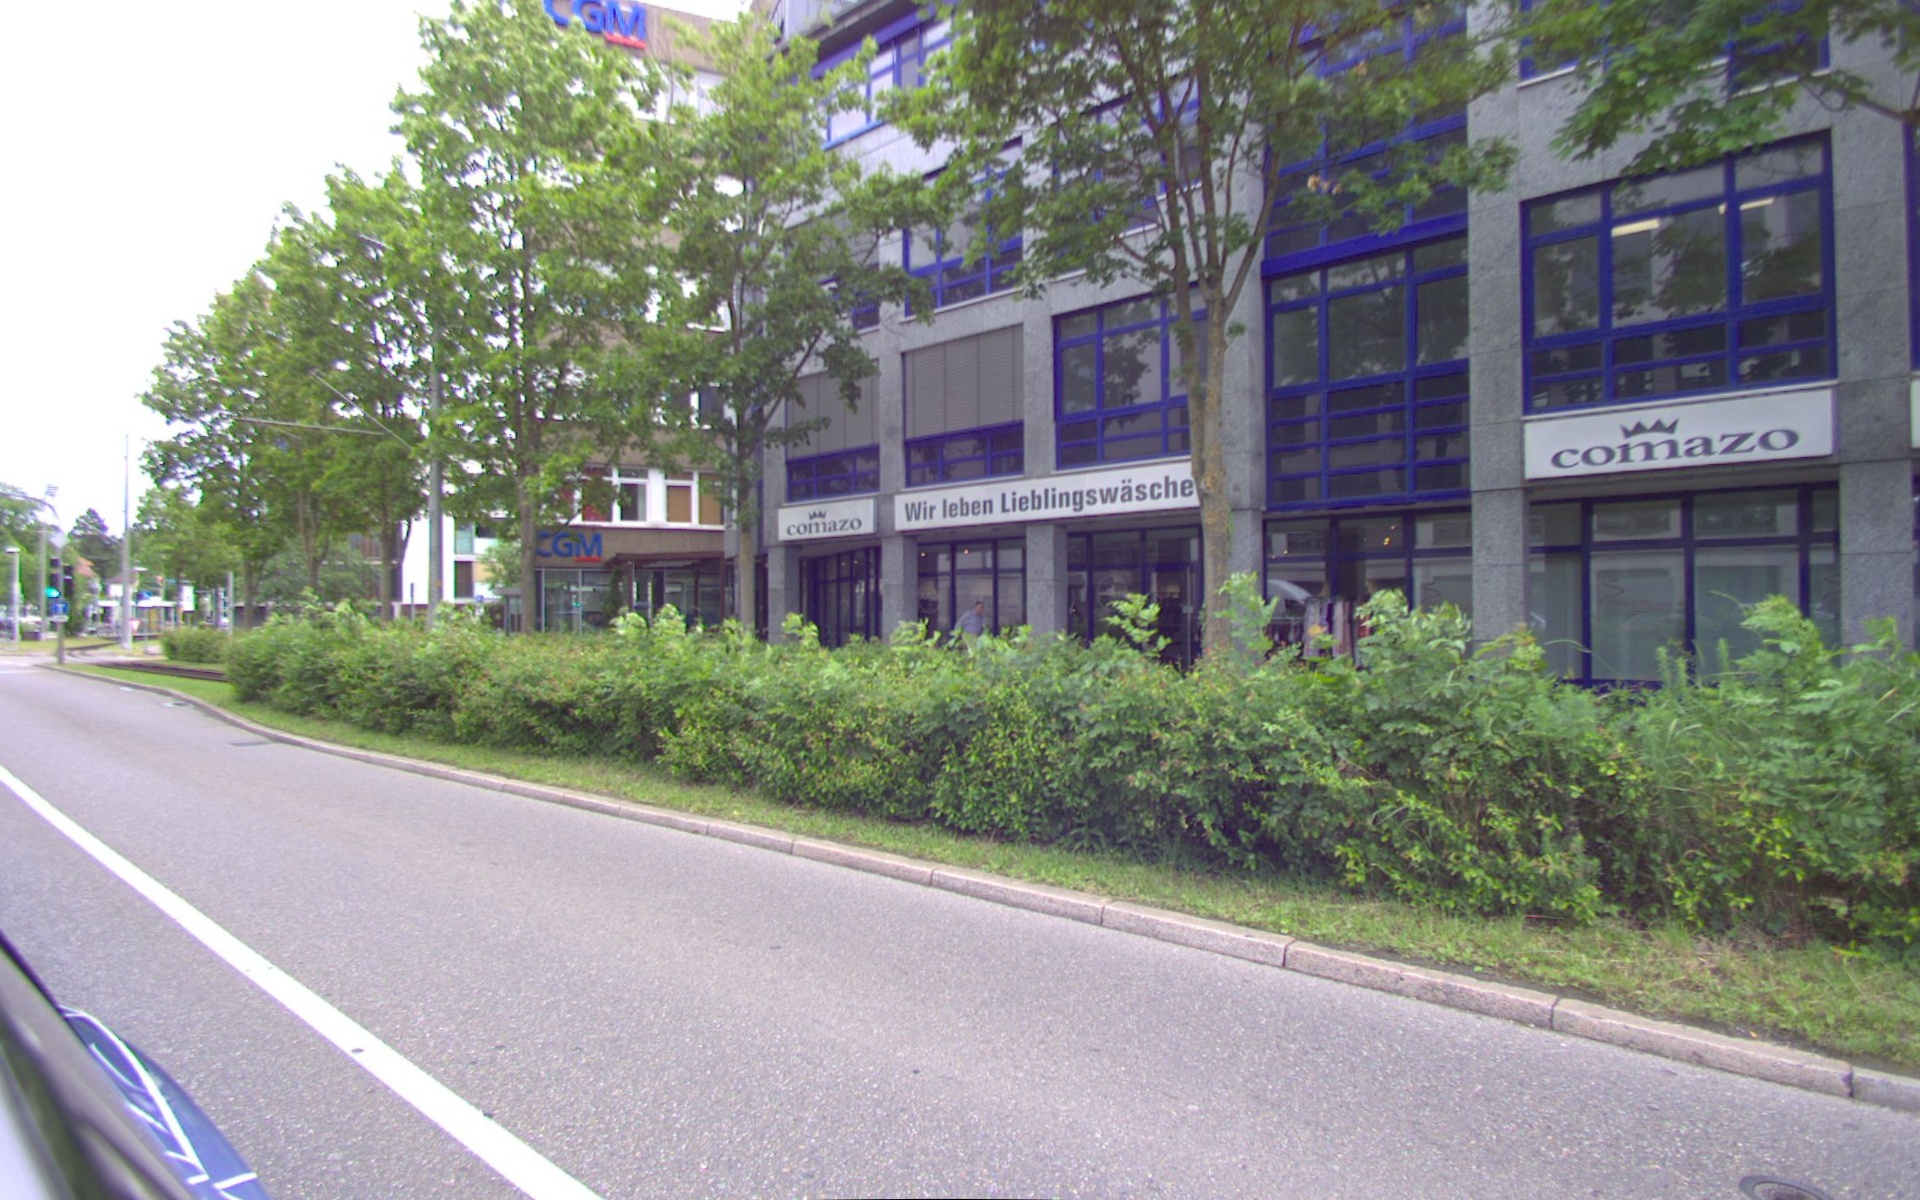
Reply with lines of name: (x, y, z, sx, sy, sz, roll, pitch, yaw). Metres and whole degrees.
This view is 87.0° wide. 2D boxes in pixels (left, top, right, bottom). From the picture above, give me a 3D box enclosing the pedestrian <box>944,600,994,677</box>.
pedestrian: (0.179, 0.755, 20.237, 0.679, 1.493, 0.690, -2, 0, 41)
